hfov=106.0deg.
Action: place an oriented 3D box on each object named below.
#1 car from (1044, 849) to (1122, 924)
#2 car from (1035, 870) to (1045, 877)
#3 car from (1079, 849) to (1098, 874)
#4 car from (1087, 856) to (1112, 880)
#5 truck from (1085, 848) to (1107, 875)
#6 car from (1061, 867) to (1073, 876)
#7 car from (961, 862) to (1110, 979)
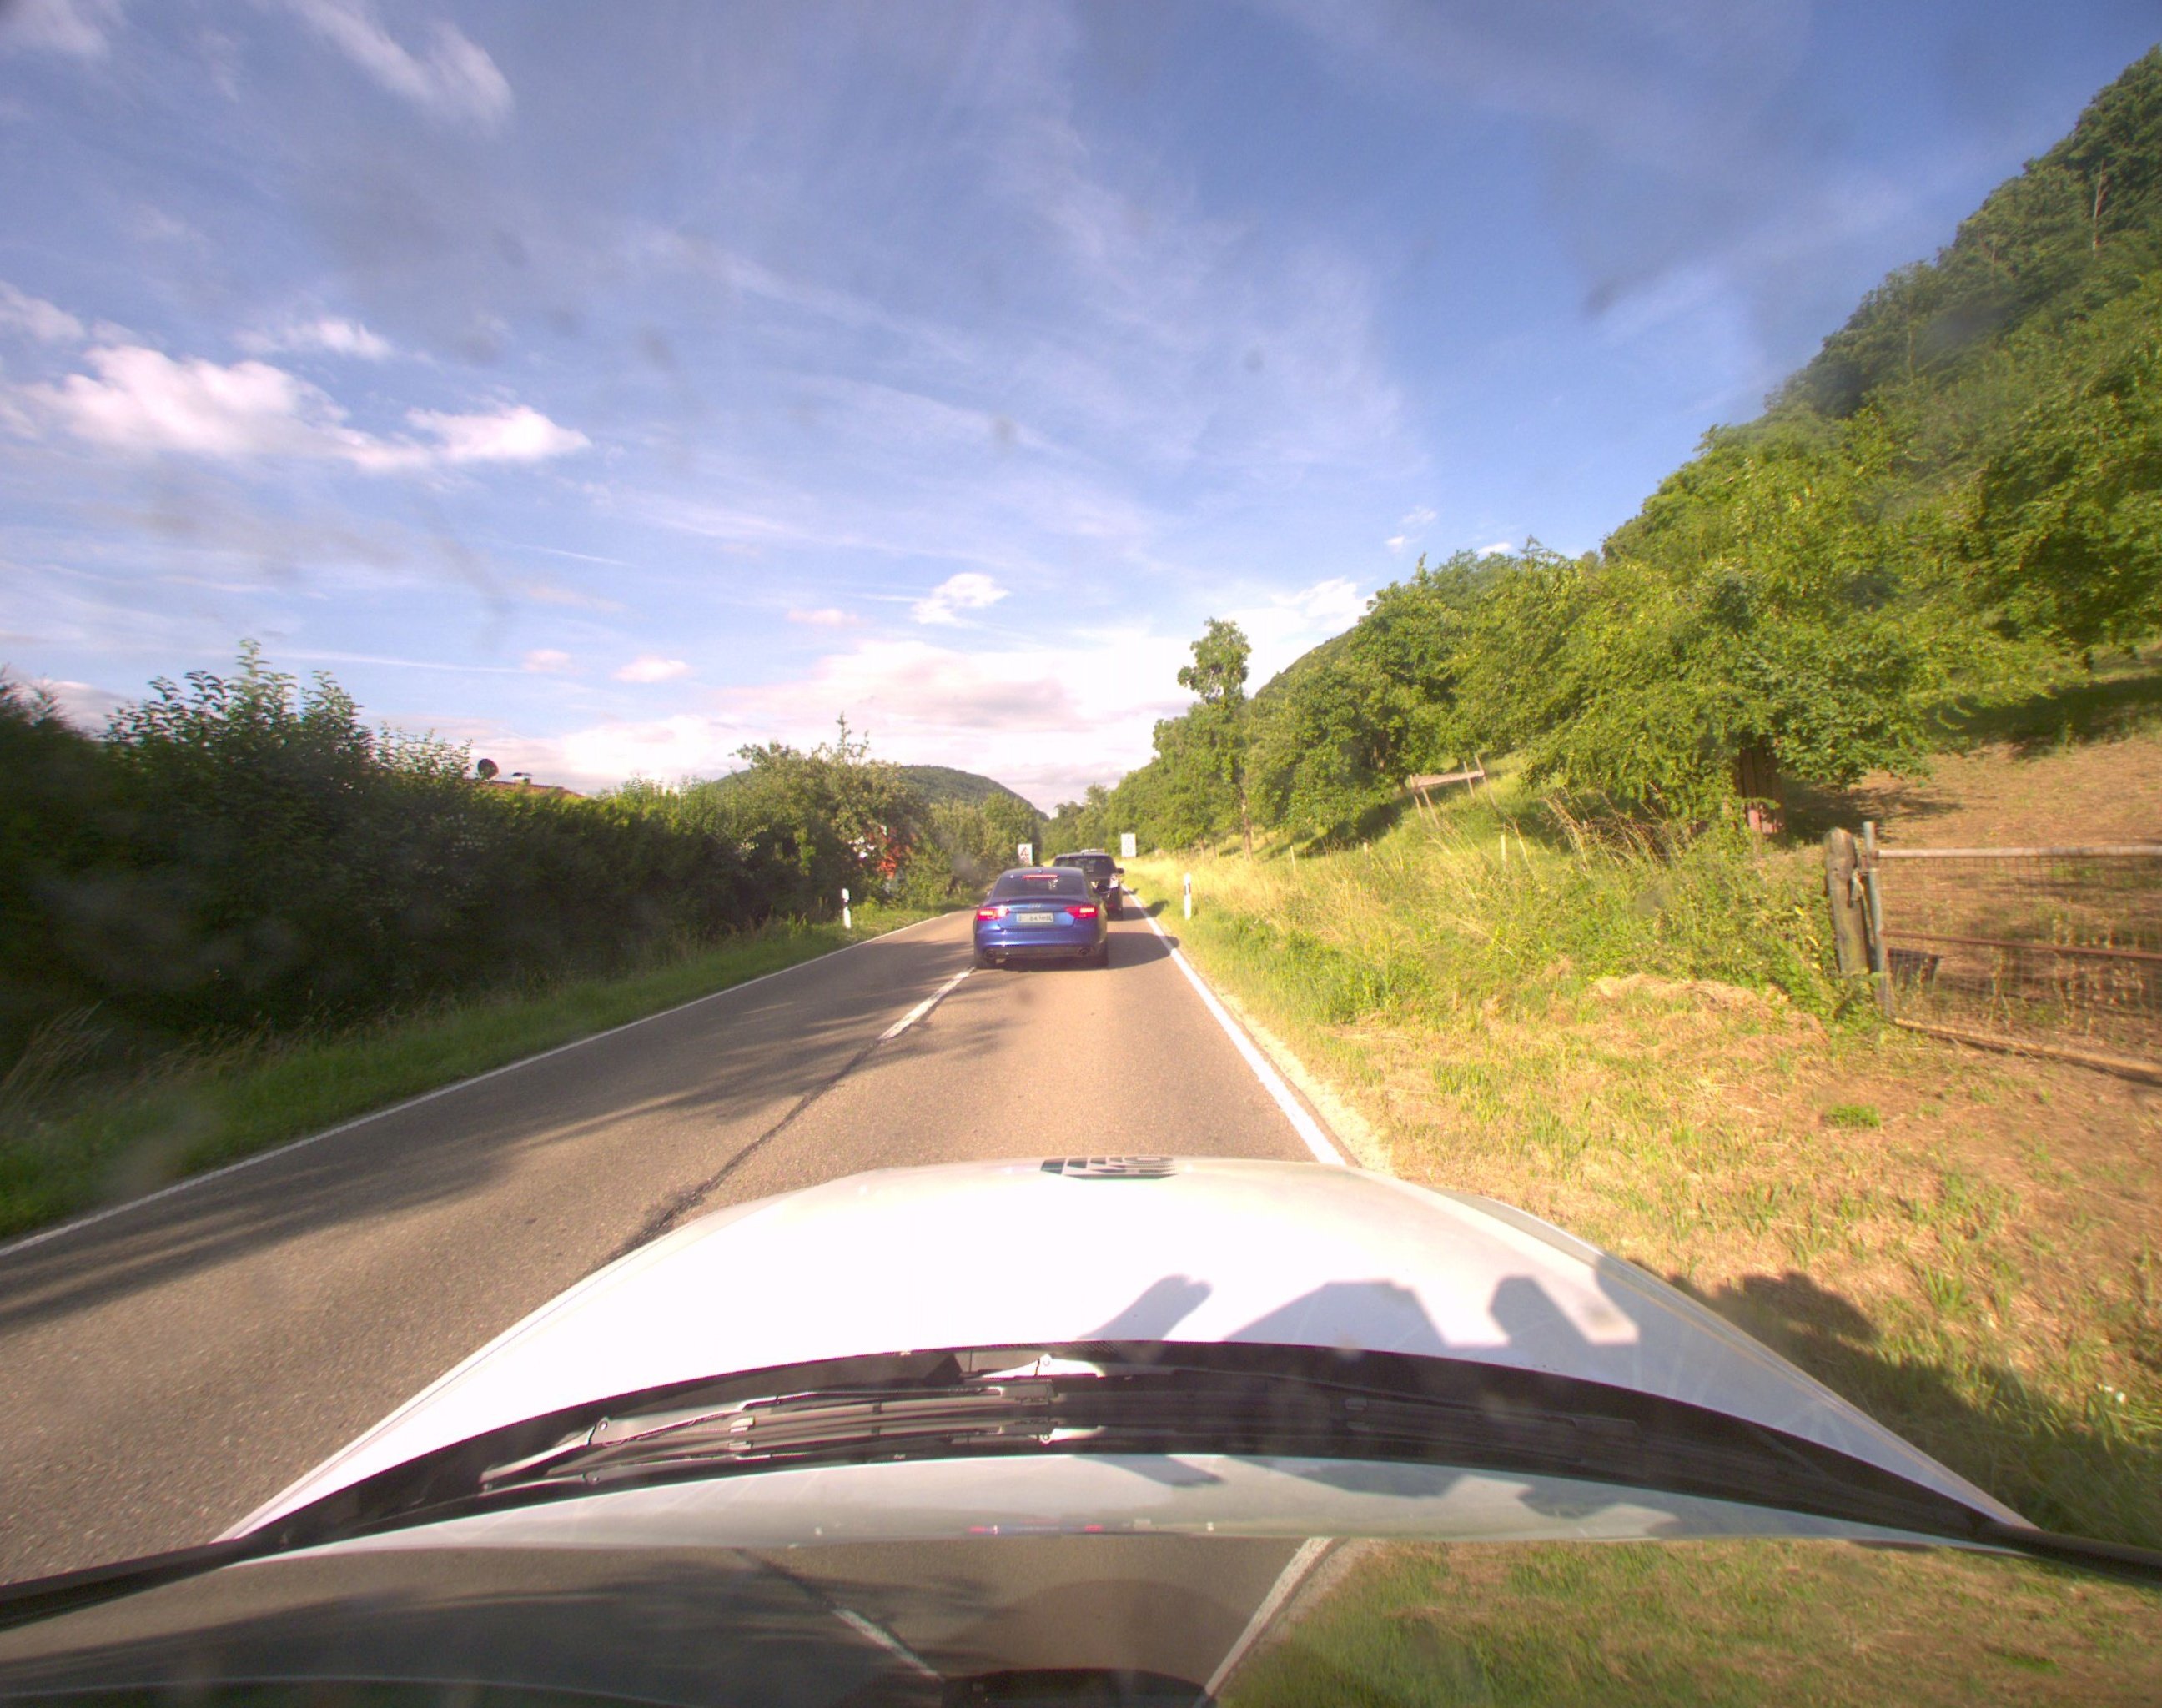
[{"bbox_3d":[0.084,0.732,20.080,1.687,1.624,3.790,-2,0,1],"label":"car"},{"bbox_3d":[-8.751,4.114,174.070,1.559,1.496,3.763,0,0,-11],"label":"car"},{"bbox_3d":[0.792,0.735,83.545,1.787,2.453,3.916,0,0,-2],"label":"car"},{"bbox_3d":[1.317,0.953,57.663,1.687,1.624,3.790,-2,0,1],"label":"car"},{"bbox_3d":[1.343,0.650,73.395,1.943,2.345,5.093,0,0,0],"label":"truck"},{"bbox_3d":[-2.348,2.881,136.760,1.557,1.496,3.768,0,0,-7],"label":"car"},{"bbox_3d":[-0.505,0.850,12.190,1.799,1.382,4.216,-2,-1,1],"label":"car"}]
